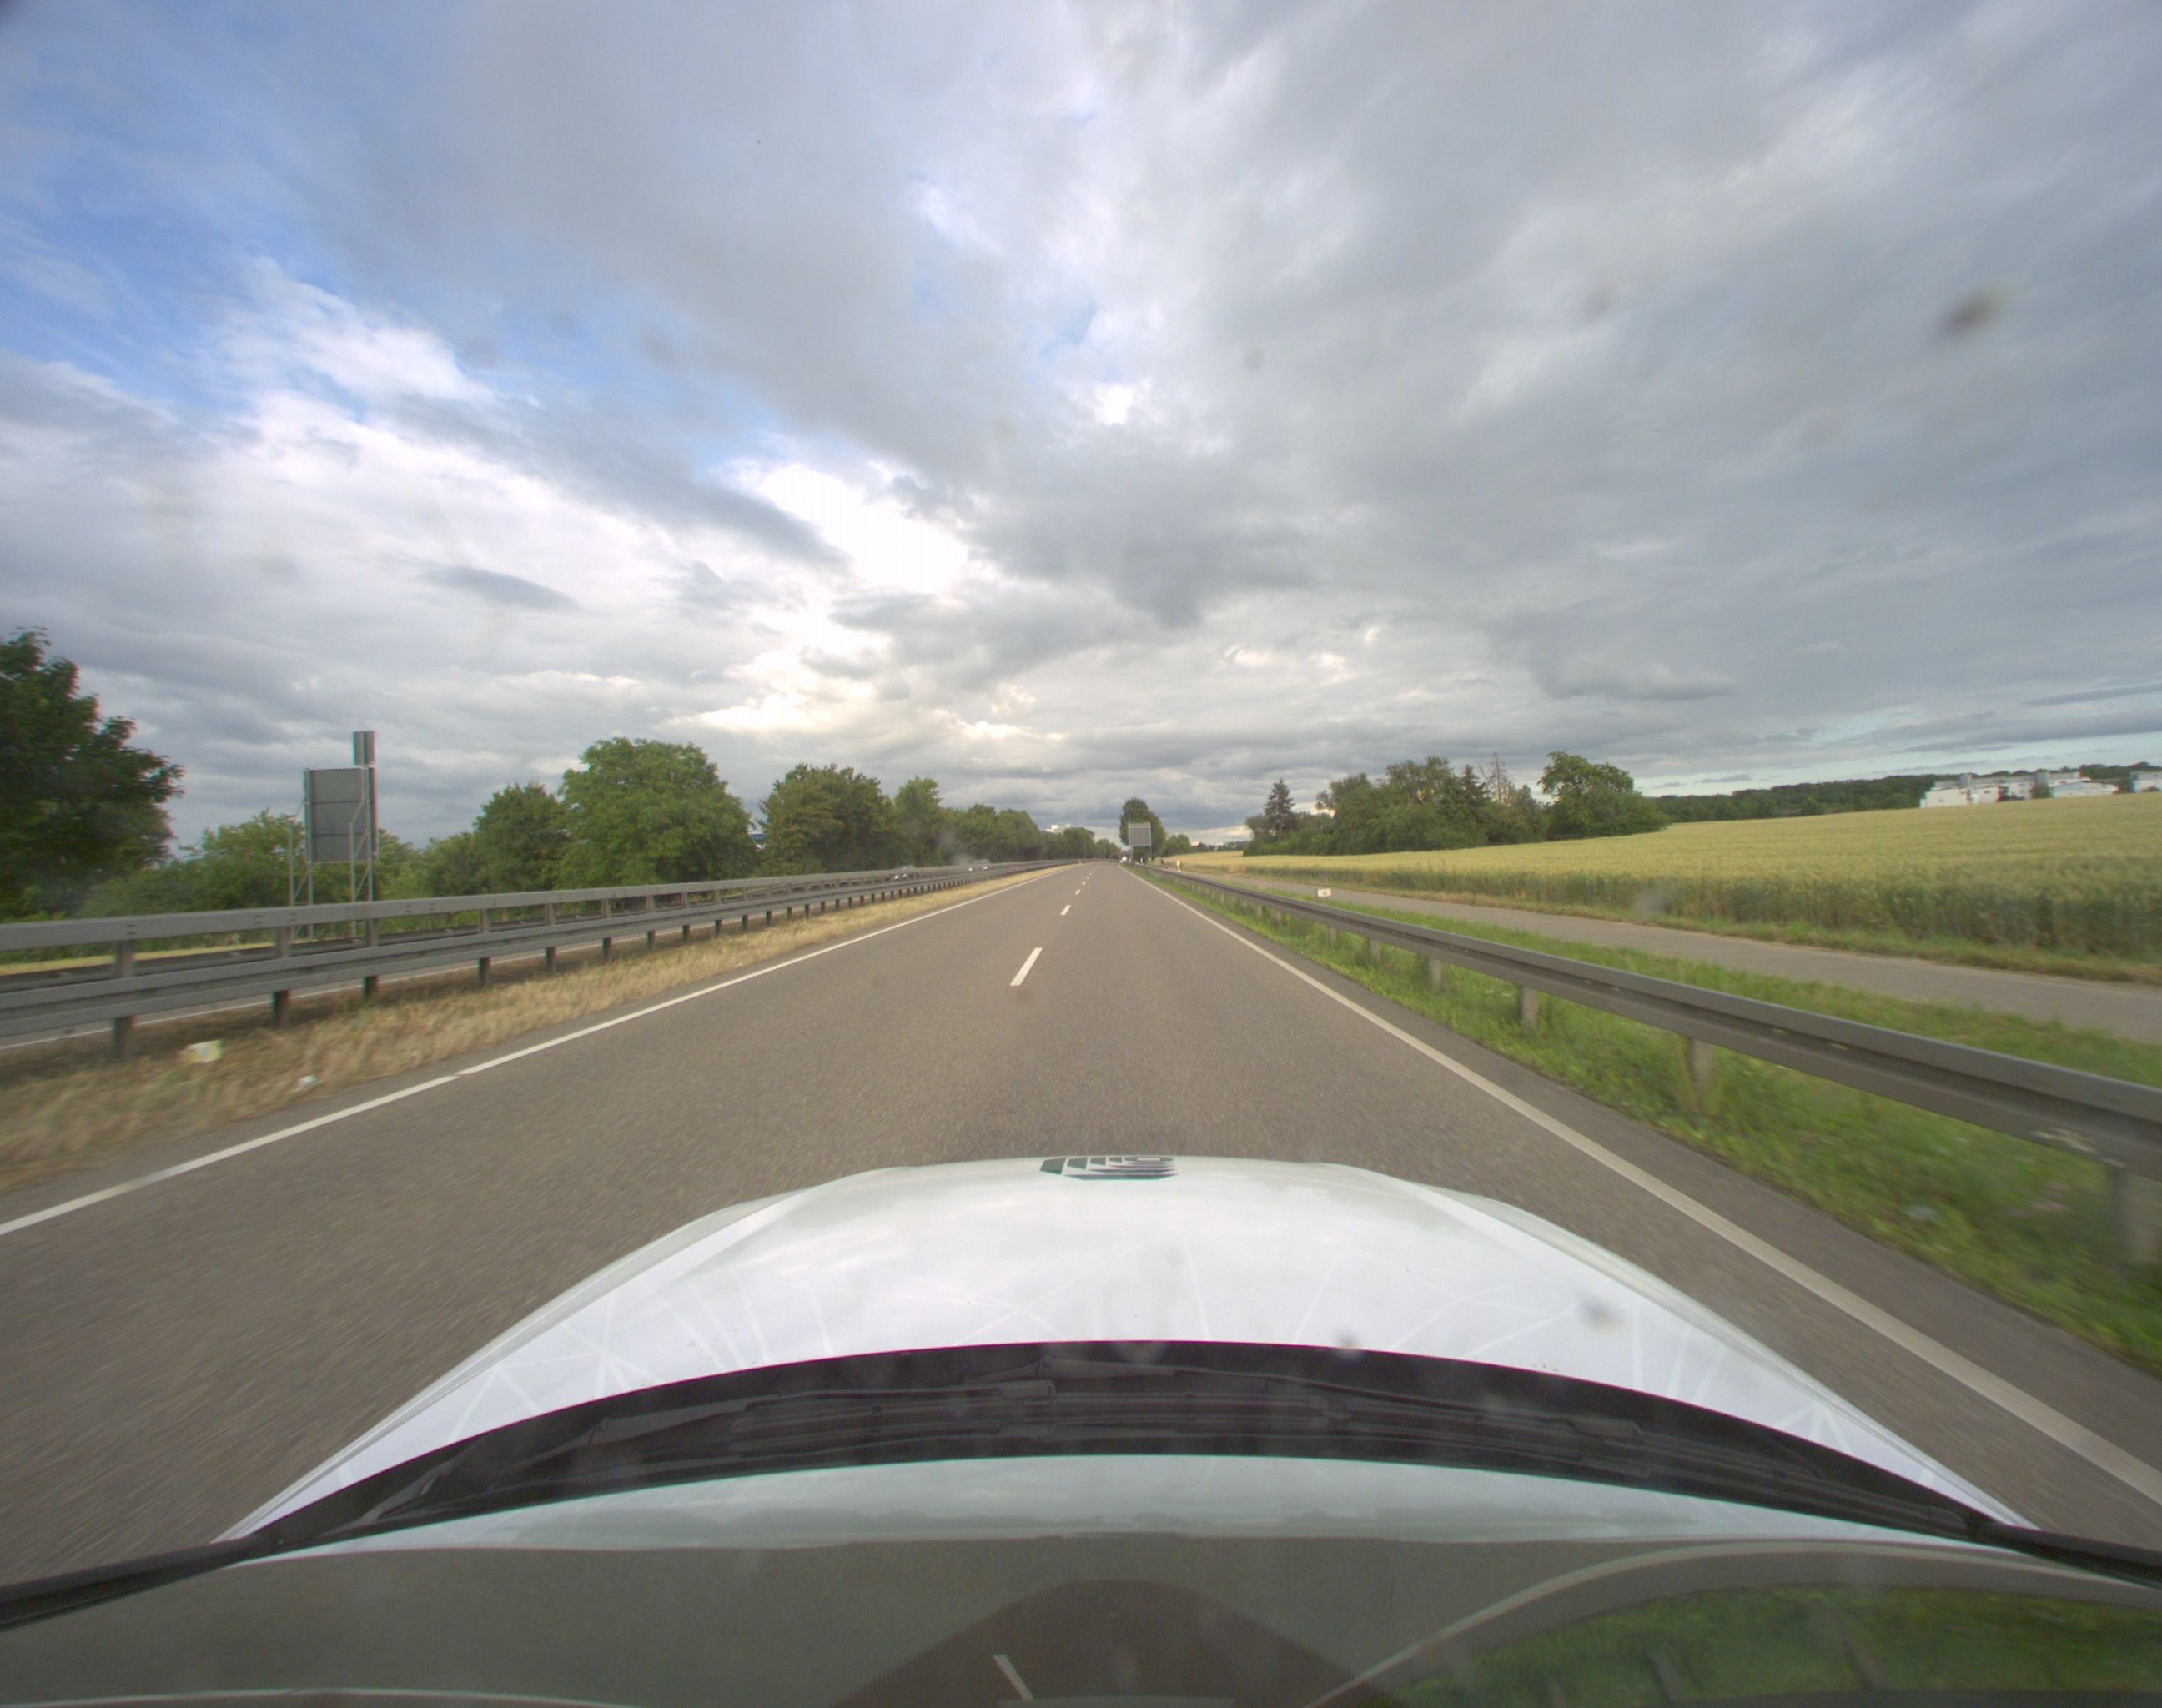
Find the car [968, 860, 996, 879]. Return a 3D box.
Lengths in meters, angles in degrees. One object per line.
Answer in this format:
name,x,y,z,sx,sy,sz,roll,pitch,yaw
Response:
car,-9.407,1.466,77.554,1.790,1.625,4.486,-3,0,3

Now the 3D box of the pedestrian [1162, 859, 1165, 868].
pedestrian,14.957,1.773,147.762,0.600,1.666,0.542,0,-1,-1

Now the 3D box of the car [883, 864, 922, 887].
car,-14.018,1.664,64.099,1.790,1.625,4.486,-3,0,3
